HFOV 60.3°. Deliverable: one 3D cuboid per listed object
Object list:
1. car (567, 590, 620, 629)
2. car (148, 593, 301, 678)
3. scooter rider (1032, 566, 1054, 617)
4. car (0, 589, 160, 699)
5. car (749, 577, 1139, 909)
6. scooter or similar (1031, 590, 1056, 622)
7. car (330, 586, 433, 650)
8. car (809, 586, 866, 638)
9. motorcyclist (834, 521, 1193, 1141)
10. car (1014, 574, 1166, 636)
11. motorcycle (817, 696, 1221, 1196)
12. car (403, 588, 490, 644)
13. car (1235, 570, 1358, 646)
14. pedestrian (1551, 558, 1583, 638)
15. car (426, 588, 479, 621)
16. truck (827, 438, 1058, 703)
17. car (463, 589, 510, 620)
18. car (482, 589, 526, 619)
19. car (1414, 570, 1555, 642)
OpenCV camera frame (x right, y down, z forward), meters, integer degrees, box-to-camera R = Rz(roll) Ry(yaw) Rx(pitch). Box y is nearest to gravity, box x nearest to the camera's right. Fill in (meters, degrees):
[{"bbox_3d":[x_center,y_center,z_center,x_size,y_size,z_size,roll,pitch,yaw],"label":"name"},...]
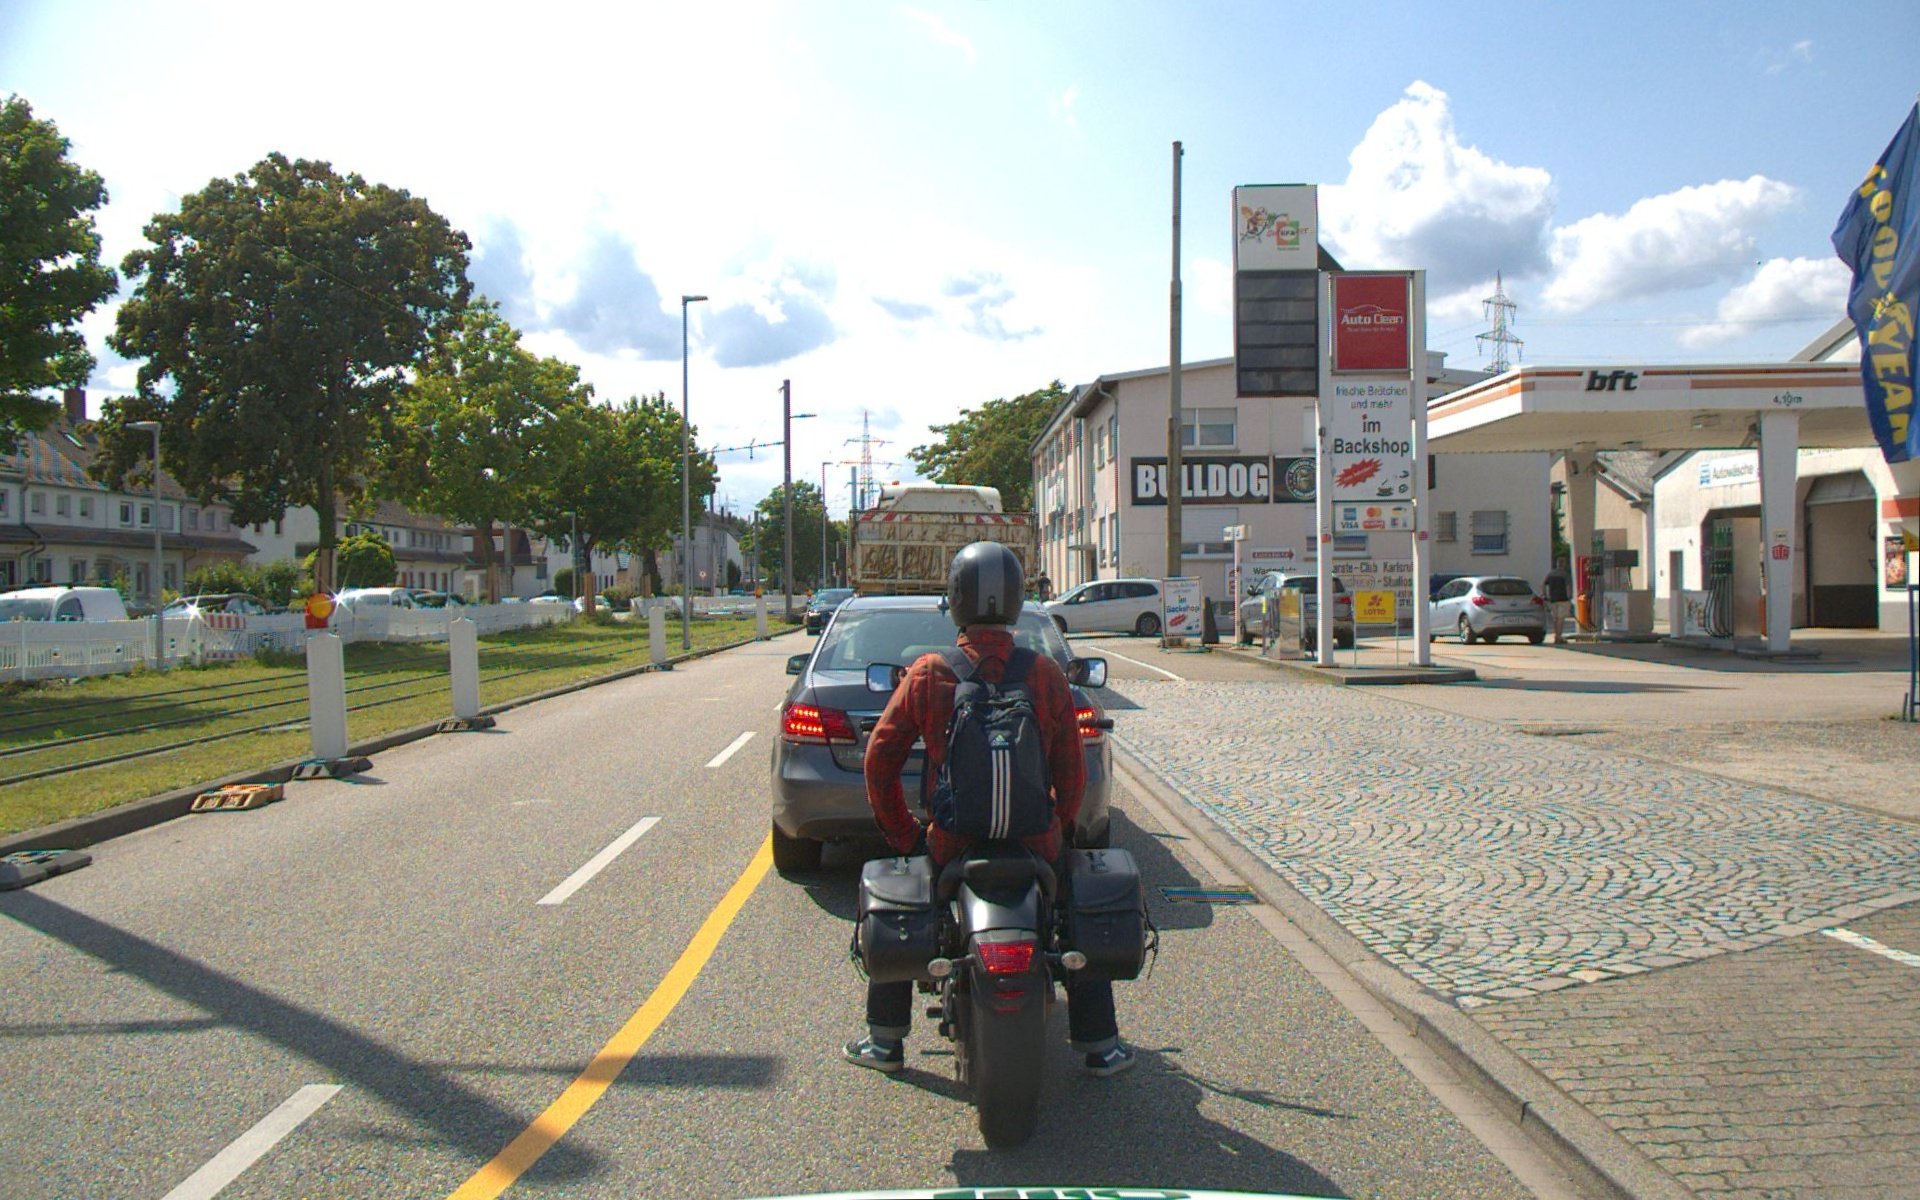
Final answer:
[{"bbox_3d":[-17.492,0.413,79.074,1.664,1.770,3.860,-1,0,-1],"label":"car"},{"bbox_3d":[-16.670,0.760,37.706,1.664,1.770,4.053,-1,0,-1],"label":"car"},{"bbox_3d":[3.082,-0.321,61.463,0.779,1.850,0.508,-1,0,-1],"label":"scooter rider"},{"bbox_3d":[-16.414,0.746,30.283,1.664,1.849,3.860,-1,0,-1],"label":"car"},{"bbox_3d":[-0.132,0.650,9.747,1.795,1.505,4.008,-1,0,-2],"label":"car"},{"bbox_3d":[3.096,0.211,61.388,0.779,1.165,1.519,-1,0,-1],"label":"scooter or similar"},{"bbox_3d":[-16.932,0.496,48.604,1.664,1.770,3.860,-1,0,-1],"label":"car"},{"bbox_3d":[-4.048,0.370,55.052,1.646,1.652,4.118,-1,0,-1],"label":"car"},{"bbox_3d":[0.136,0.620,5.067,0.950,1.662,1.214,1,0,-1],"label":"motorcyclist"},{"bbox_3d":[3.671,0.120,47.076,4.029,1.652,1.682,-1,0,-9],"label":"car"},{"bbox_3d":[0.125,0.903,5.185,0.956,1.031,2.431,1,0,-1],"label":"motorcycle"},{"bbox_3d":[-17.019,0.499,54.970,1.664,1.770,3.860,-1,0,-1],"label":"car"},{"bbox_3d":[7.404,0.145,36.747,1.795,1.562,4.008,-1,0,-2],"label":"car"},{"bbox_3d":[13.138,-0.045,35.785,0.621,1.712,0.622,-1,0,20],"label":"pedestrian"},{"bbox_3d":[-28.187,0.247,91.922,1.664,1.770,4.061,-1,0,-1],"label":"car"},{"bbox_3d":[-0.351,-0.419,25.460,2.910,3.362,8.404,-1,0,-2],"label":"truck"},{"bbox_3d":[-28.068,0.261,98.132,1.664,1.770,4.061,-1,0,-1],"label":"car"},{"bbox_3d":[-28.672,0.232,104.134,1.664,1.770,4.061,-1,0,-1],"label":"car"},{"bbox_3d":[11.775,0.104,37.413,1.795,1.505,4.008,-1,0,-2],"label":"car"}]
